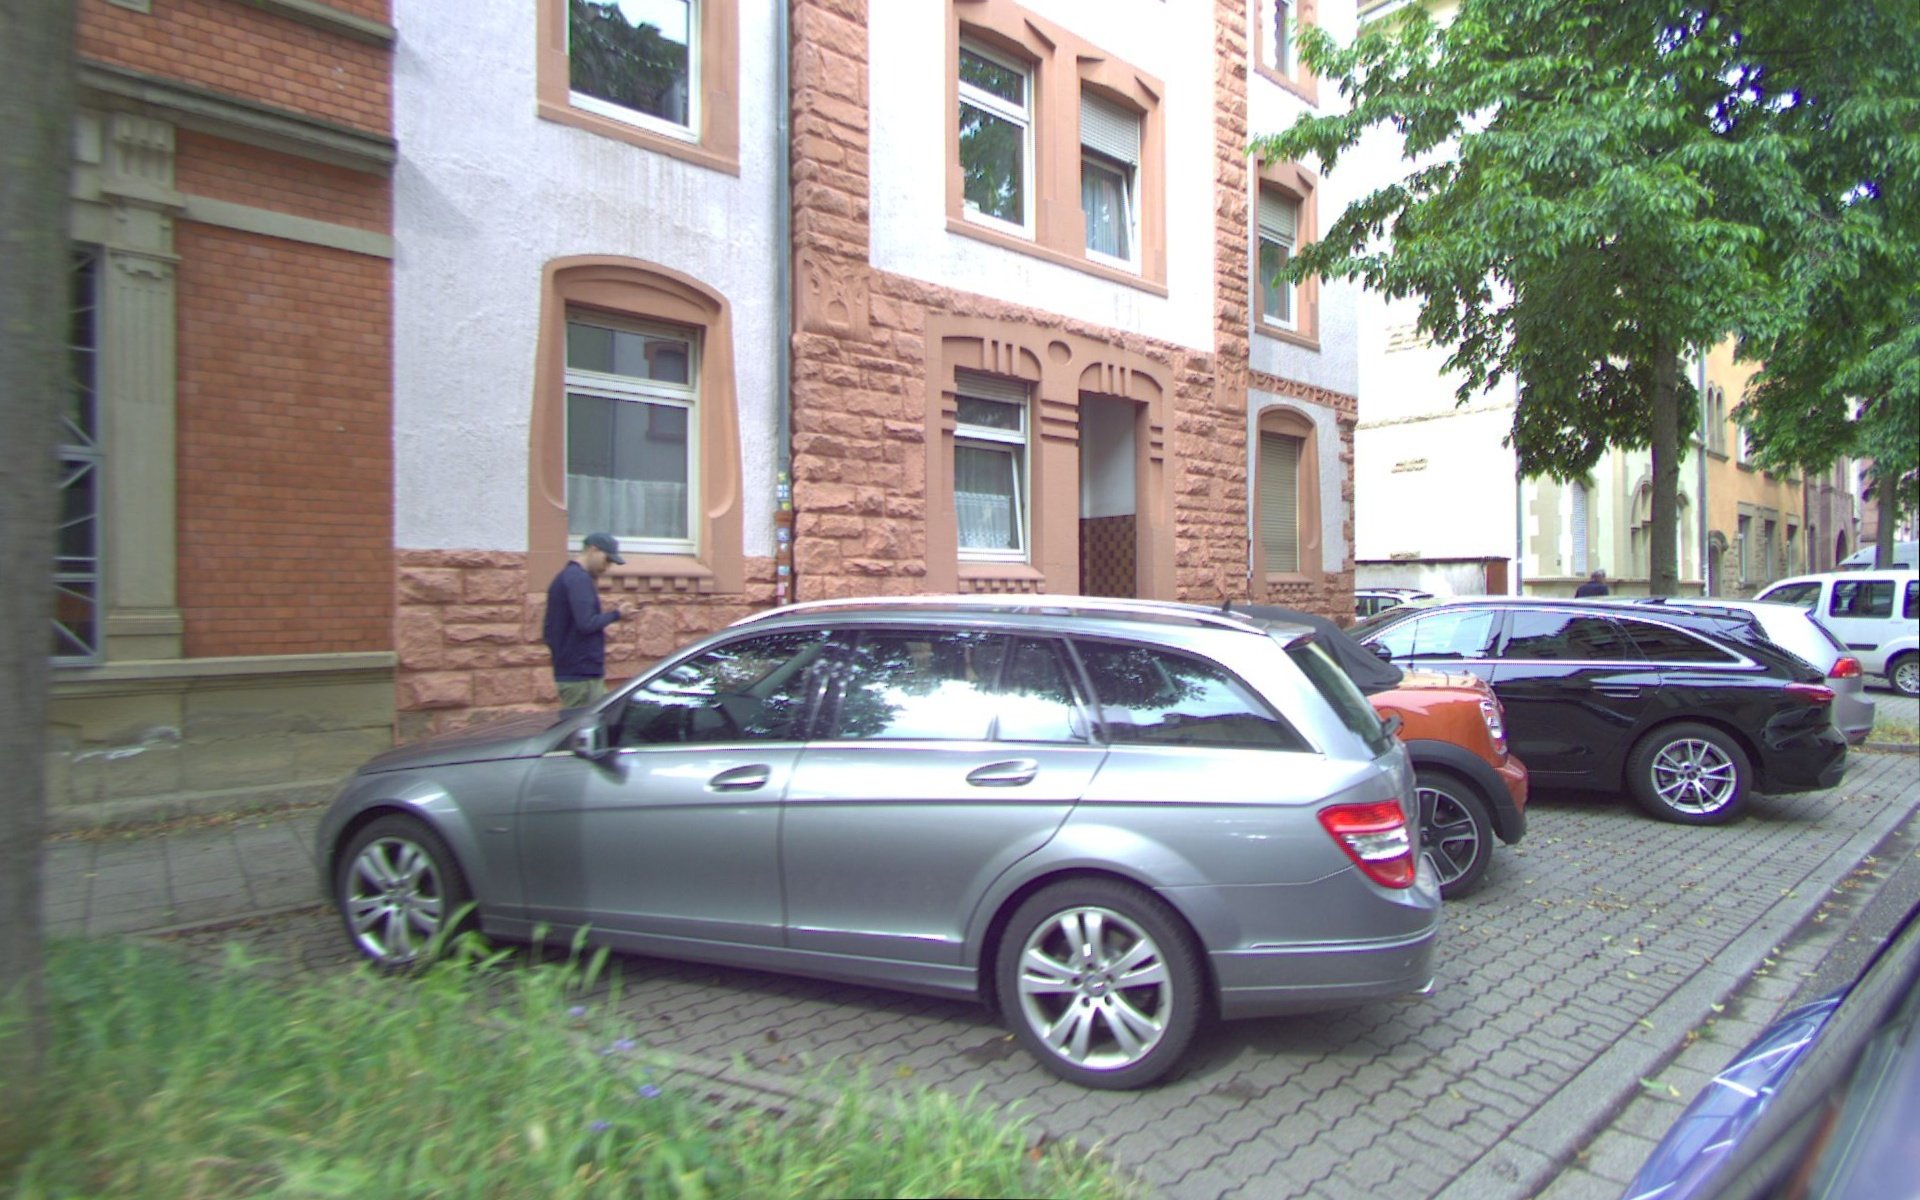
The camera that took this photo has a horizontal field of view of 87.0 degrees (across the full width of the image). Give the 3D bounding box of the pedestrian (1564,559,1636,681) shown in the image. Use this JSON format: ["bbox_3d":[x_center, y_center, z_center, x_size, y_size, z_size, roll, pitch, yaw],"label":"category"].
[{"bbox_3d":[10.000,0.304,15.817,0.802,1.835,0.702,0,-1,-39],"label":"pedestrian"}]

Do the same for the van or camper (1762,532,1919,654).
[{"bbox_3d":[21.328,-0.156,22.529,5.006,2.623,2.060,0,0,20],"label":"van or camper"}]

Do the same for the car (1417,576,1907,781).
[{"bbox_3d":[6.211,0.628,9.445,3.436,1.583,1.769,-1,-1,28],"label":"car"}]

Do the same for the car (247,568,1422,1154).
[{"bbox_3d":[-0.589,0.632,4.215,4.390,1.445,1.747,2,2,20],"label":"car"}]

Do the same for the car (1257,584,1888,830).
[{"bbox_3d":[4.142,0.643,7.522,3.646,1.485,1.695,0,0,19],"label":"car"}]

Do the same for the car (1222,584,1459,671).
[{"bbox_3d":[7.134,0.456,19.286,1.581,1.472,3.994,0,0,-40],"label":"car"}]

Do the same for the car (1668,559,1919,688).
[{"bbox_3d":[13.706,0.326,15.798,1.687,1.834,4.002,0,0,-33],"label":"car"}]

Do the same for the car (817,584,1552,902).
[{"bbox_3d":[1.230,0.661,6.164,3.837,1.454,1.734,0,-1,22],"label":"car"}]

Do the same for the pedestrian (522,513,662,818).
[{"bbox_3d":[-2.286,0.373,6.280,0.652,1.755,0.598,0,0,-41],"label":"pedestrian"}]
